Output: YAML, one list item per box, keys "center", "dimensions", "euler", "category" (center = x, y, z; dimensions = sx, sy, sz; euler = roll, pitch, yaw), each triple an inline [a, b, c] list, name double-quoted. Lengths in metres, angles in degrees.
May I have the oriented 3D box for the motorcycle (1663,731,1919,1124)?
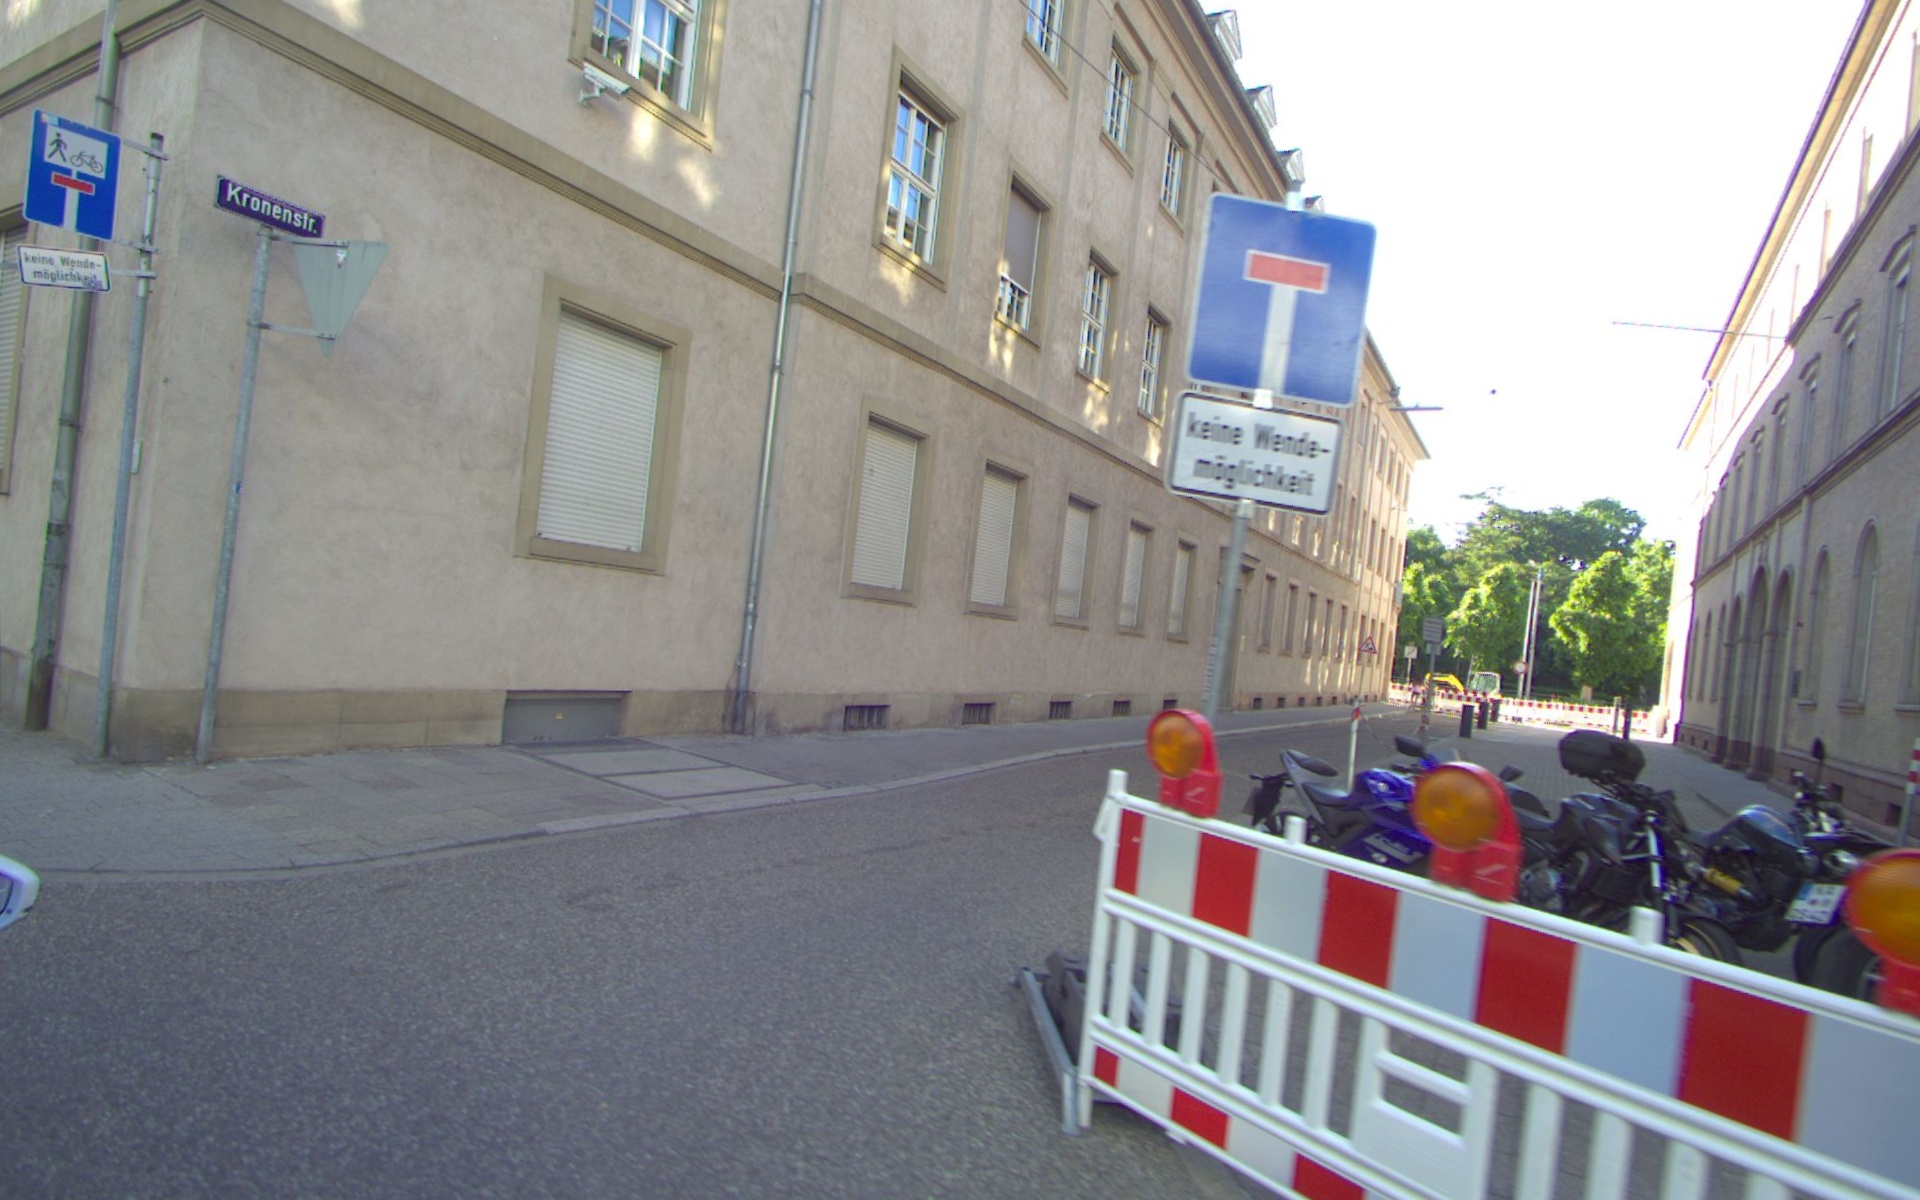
- center: [4.176, 1.344, 4.266]
  dimensions: [2.046, 1.349, 0.705]
  euler: [6, 0, -15]
  category: "motorcycle"

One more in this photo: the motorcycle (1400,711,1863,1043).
- center: [3.441, 1.360, 5.447]
  dimensions: [0.816, 1.239, 1.949]
  euler: [6, -1, -14]
  category: "motorcycle"

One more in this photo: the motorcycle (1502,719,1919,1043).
- center: [4.436, 1.516, 5.961]
  dimensions: [0.816, 1.303, 2.139]
  euler: [6, -1, -14]
  category: "motorcycle"

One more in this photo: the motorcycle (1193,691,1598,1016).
- center: [2.221, 1.240, 5.566]
  dimensions: [0.861, 1.240, 2.145]
  euler: [4, -1, -14]
  category: "motorcycle"
